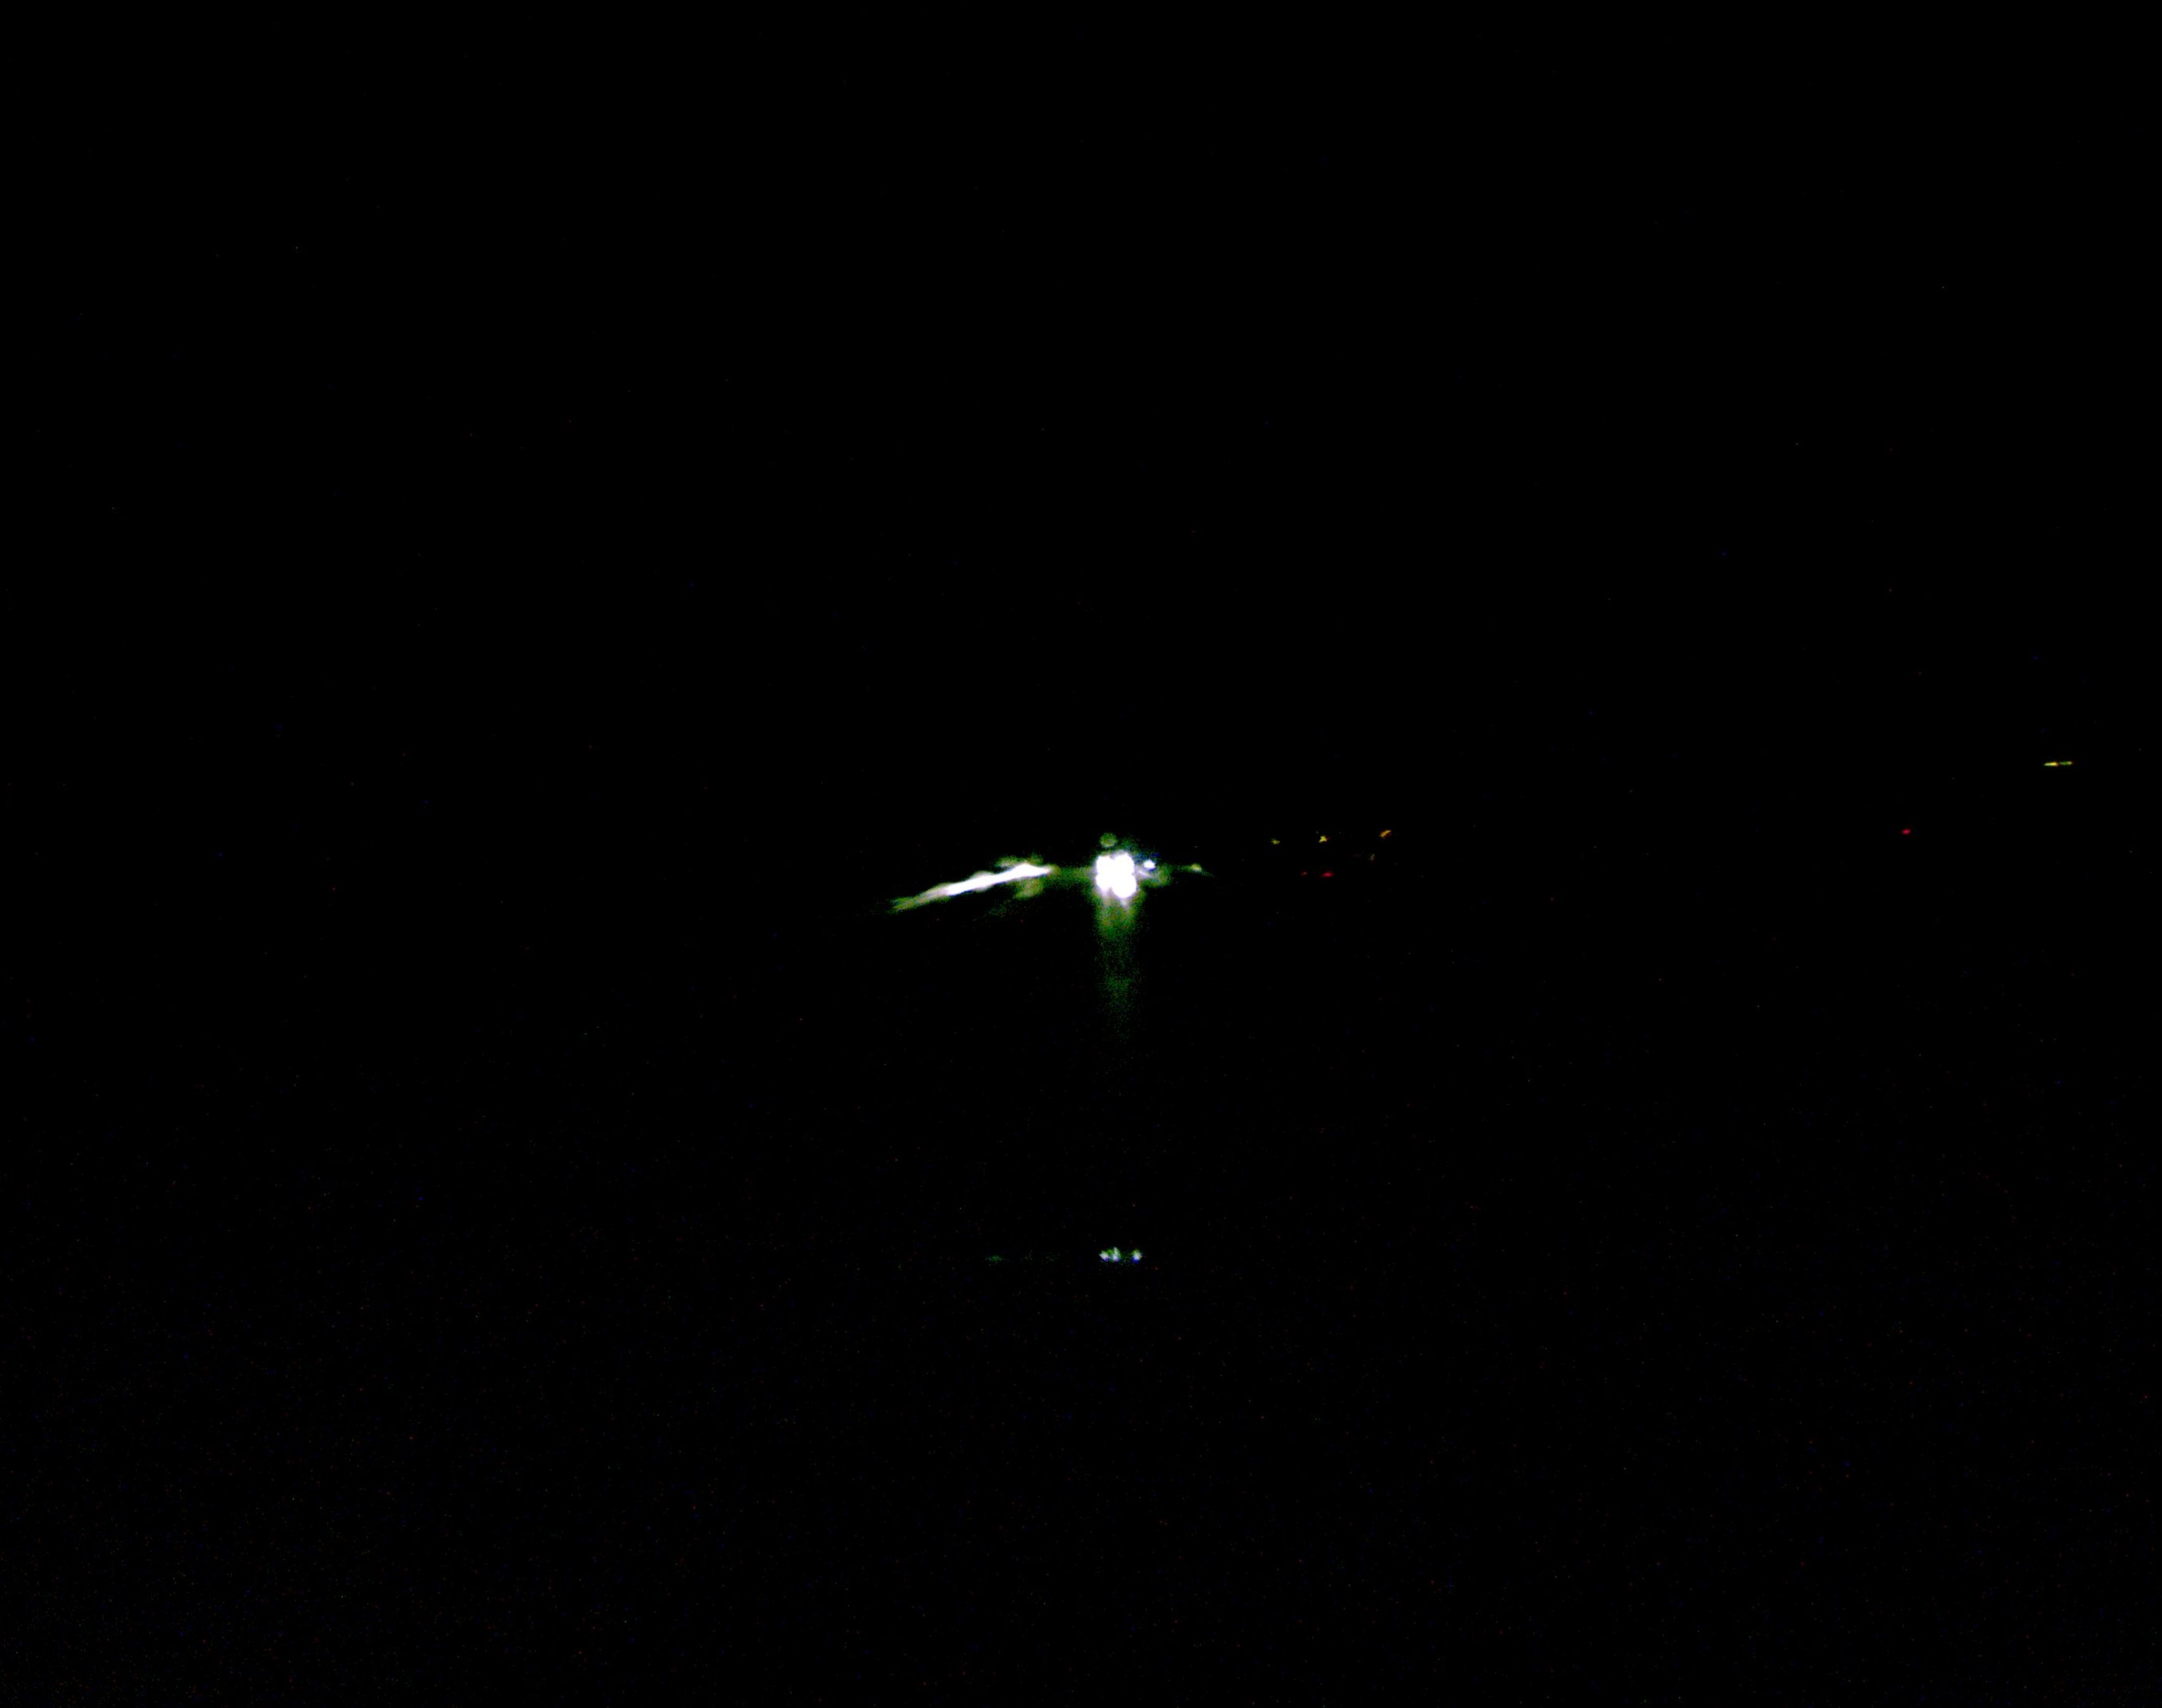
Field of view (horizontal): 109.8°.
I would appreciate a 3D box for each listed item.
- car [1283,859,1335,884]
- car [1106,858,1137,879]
[{"bbox_3d":[15.289,1.168,51.069,1.759,1.630,3.997,-1,-1,-9],"label":"car"},{"bbox_3d":[3.504,1.249,65.521,1.996,1.737,4.105,-1,-1,12],"label":"car"}]
